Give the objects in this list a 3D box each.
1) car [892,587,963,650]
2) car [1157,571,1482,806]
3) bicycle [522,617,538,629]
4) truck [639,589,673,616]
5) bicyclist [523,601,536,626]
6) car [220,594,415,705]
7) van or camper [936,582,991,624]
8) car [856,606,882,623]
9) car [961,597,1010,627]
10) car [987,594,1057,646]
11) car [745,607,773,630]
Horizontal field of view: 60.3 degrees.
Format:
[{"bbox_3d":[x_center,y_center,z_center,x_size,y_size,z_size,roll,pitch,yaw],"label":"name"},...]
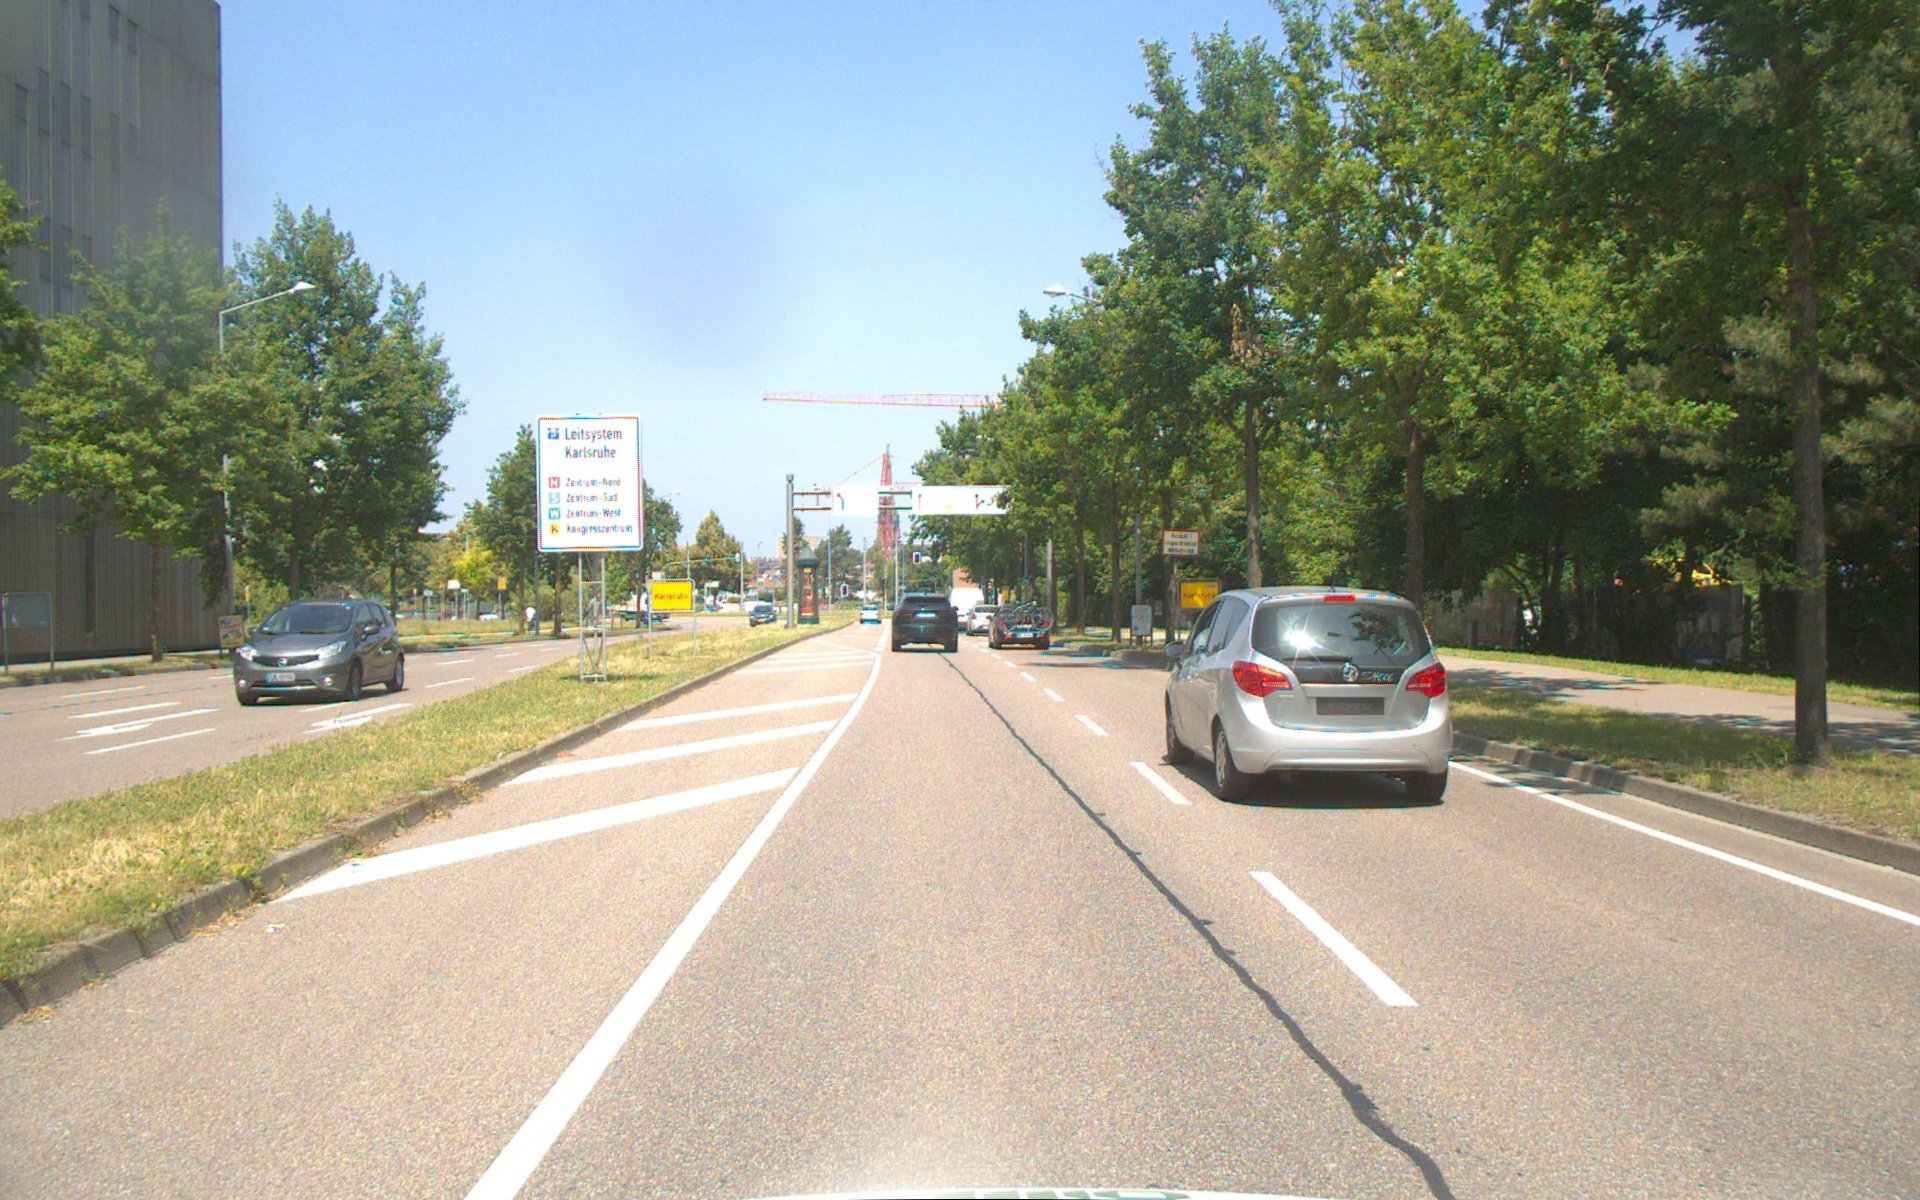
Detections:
[{"bbox_3d":[-0.938,0.509,47.902,1.957,1.719,4.033,1,0,-1],"label":"car"},{"bbox_3d":[2.772,0.619,13.614,1.756,1.640,3.890,1,0,-1],"label":"car"},{"bbox_3d":[-26.840,1.408,103.293,0.471,0.728,1.850,-1,0,1],"label":"bicycle"},{"bbox_3d":[-29.781,0.209,162.006,2.587,2.621,6.312,-1,0,-4],"label":"truck"},{"bbox_3d":[-26.860,0.831,103.219,0.610,1.515,0.757,-1,-1,0],"label":"bicyclist"},{"bbox_3d":[-9.751,0.693,25.420,1.674,1.497,3.938,-2,0,-4],"label":"car"},{"bbox_3d":[0.167,0.167,94.488,2.447,2.331,4.911,-1,0,-9],"label":"van or camper"},{"bbox_3d":[-7.603,1.183,138.509,1.955,1.344,3.994,0,0,-7],"label":"car"},{"bbox_3d":[1.197,0.585,79.476,1.624,1.380,4.451,-1,0,-9],"label":"car"},{"bbox_3d":[1.908,0.615,51.838,1.973,1.544,4.460,-1,0,-1],"label":"car"},{"bbox_3d":[-15.120,1.398,124.415,1.855,1.639,4.530,0,0,-4],"label":"car"}]
